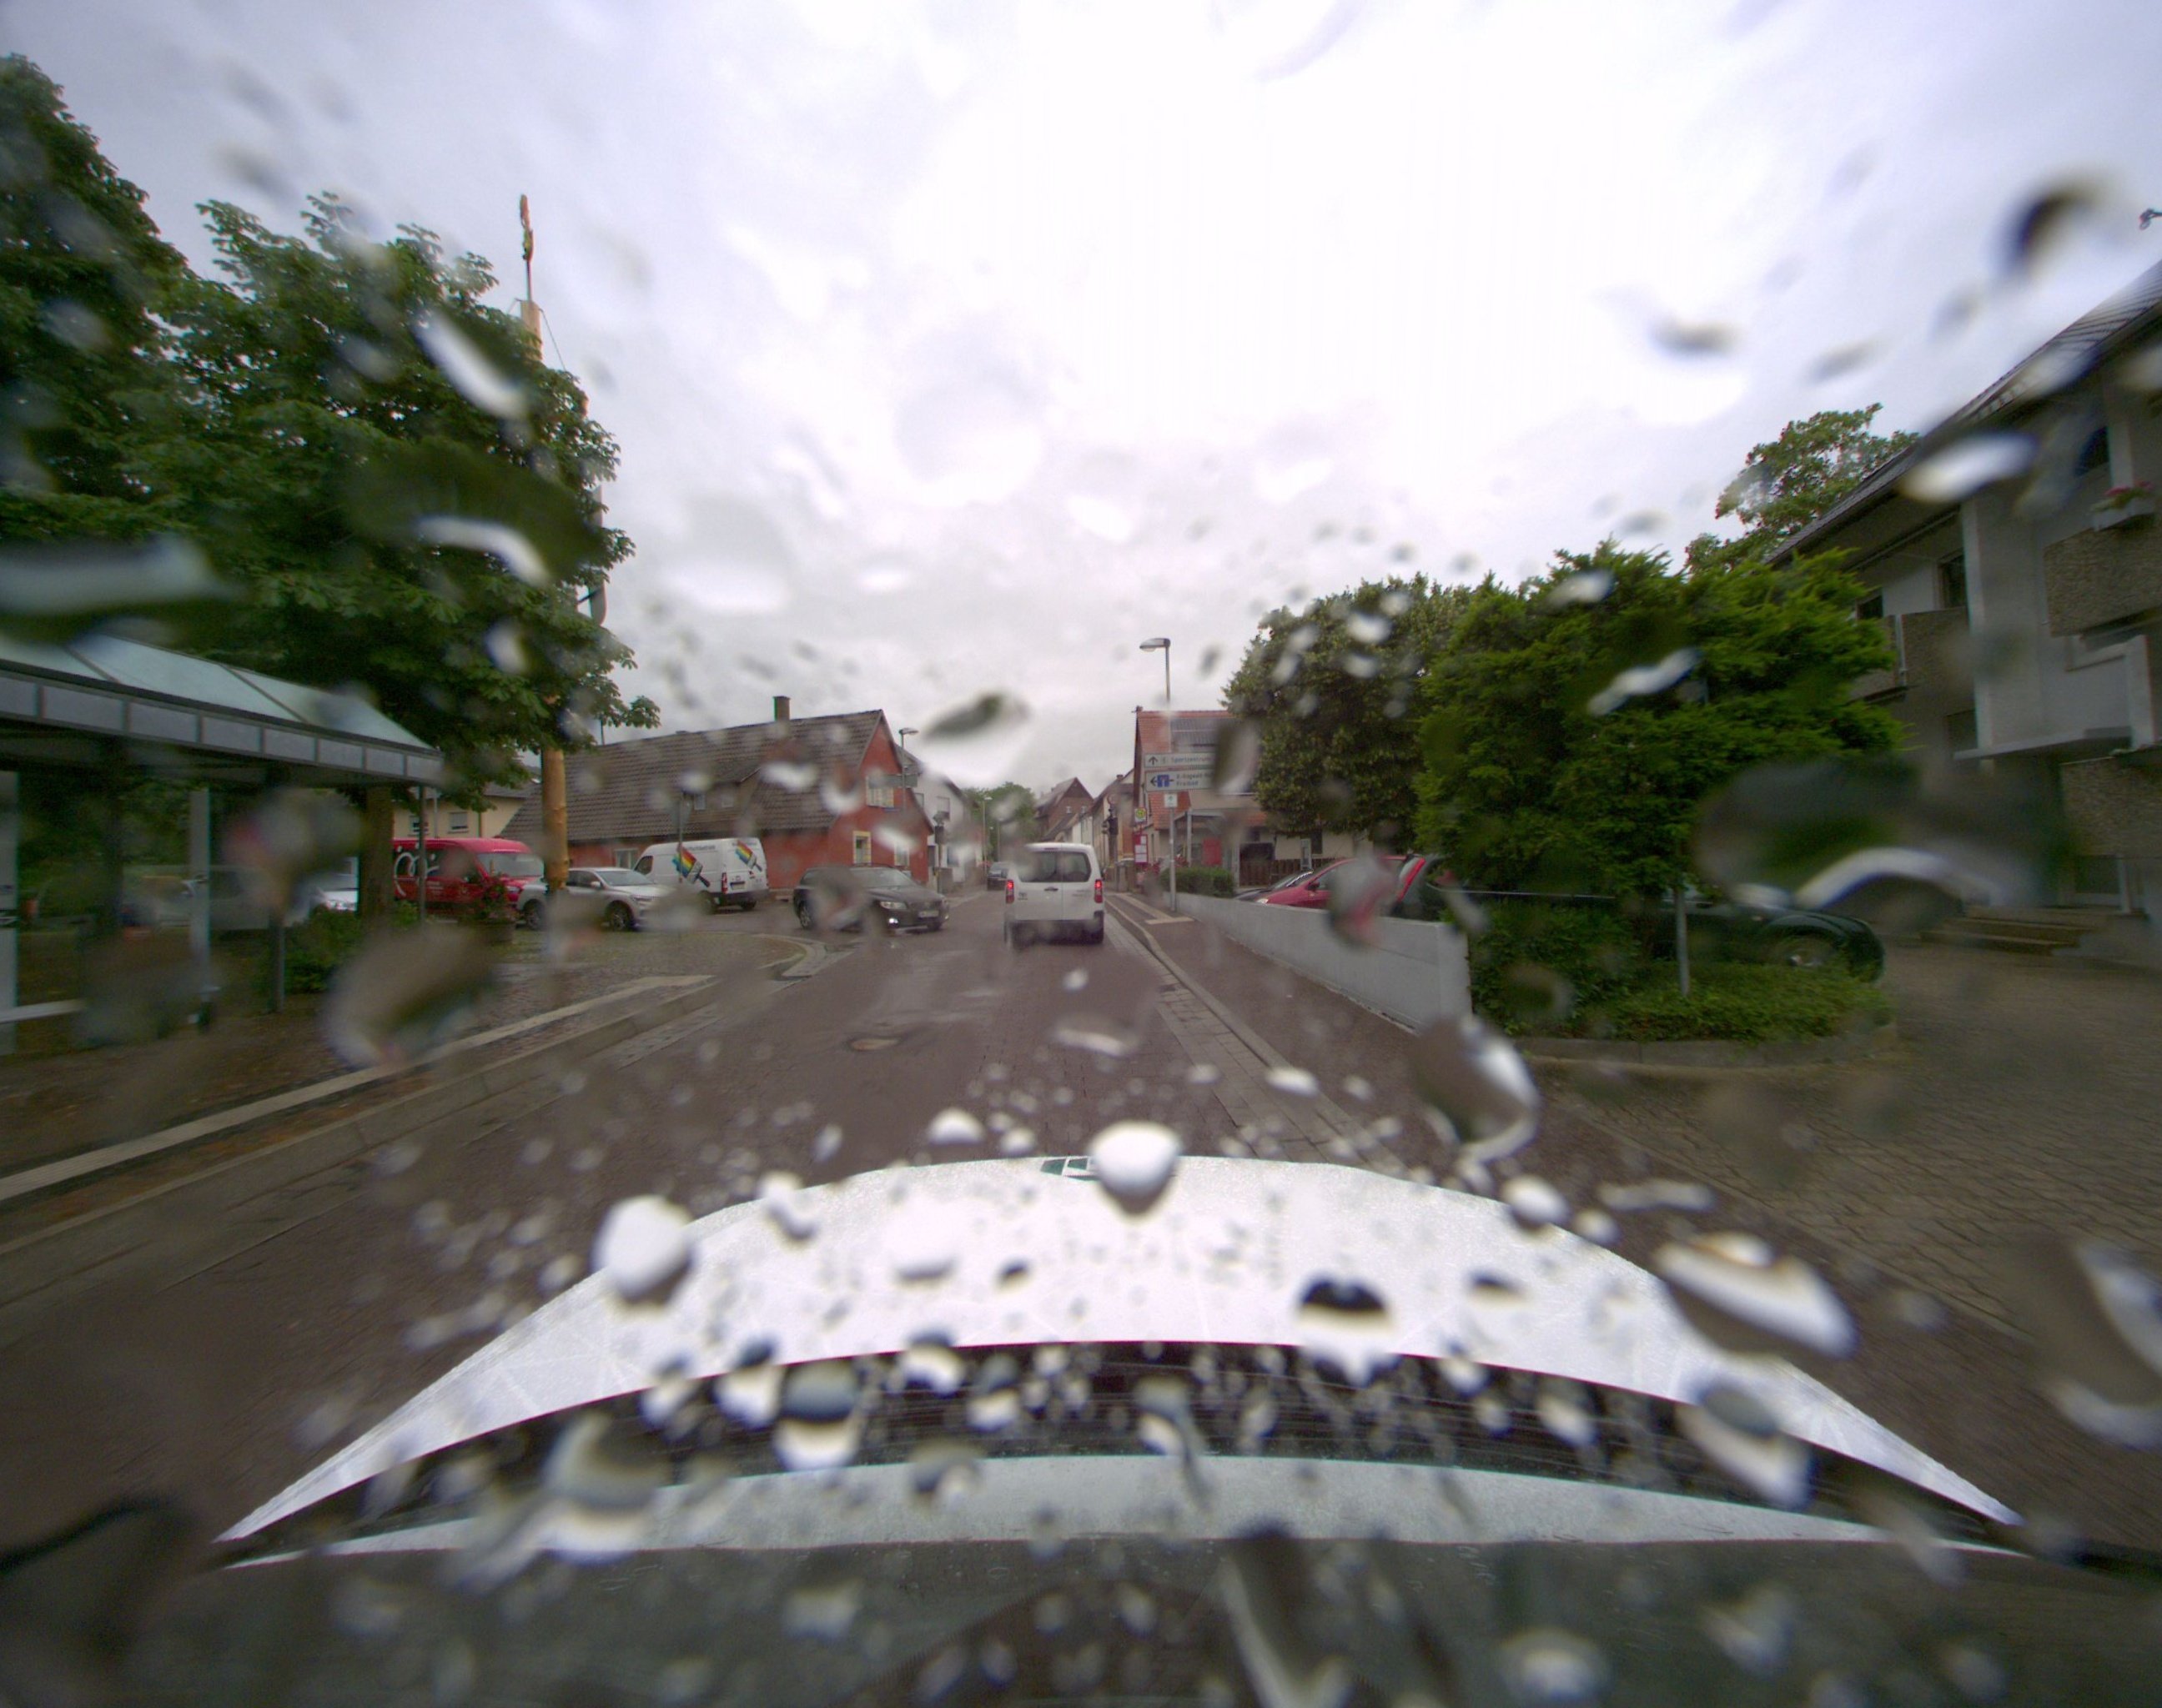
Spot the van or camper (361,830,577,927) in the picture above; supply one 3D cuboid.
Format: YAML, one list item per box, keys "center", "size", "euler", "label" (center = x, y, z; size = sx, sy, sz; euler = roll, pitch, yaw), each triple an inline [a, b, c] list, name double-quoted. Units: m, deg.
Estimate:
- center: [-17.138, 0.648, 22.781]
  size: [5.807, 2.473, 2.167]
  euler: [-1, -1, 23]
  label: "van or camper"

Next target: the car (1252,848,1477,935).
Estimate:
- center: [5.554, 0.735, 16.463]
  size: [4.041, 1.589, 1.863]
  euler: [-2, -1, 12]
  label: "car"

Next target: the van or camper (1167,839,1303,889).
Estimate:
- center: [6.078, 0.387, 32.438]
  size: [5.061, 1.923, 1.872]
  euler: [0, -1, -6]
  label: "van or camper"

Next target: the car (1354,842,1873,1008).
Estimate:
- center: [5.175, 0.695, 8.546]
  size: [4.199, 1.480, 1.701]
  euler: [-2, -1, 13]
  label: "car"

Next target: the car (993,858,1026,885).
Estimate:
- center: [-4.759, 1.185, 54.914]
  size: [1.743, 1.636, 4.416]
  euler: [-4, -1, -1]
  label: "car"

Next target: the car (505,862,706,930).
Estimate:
- center: [-11.928, 1.002, 20.465]
  size: [4.410, 1.550, 1.891]
  euler: [0, -1, 18]
  label: "car"

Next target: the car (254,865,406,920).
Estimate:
- center: [-22.825, 1.172, 24.780]
  size: [3.768, 1.550, 1.809]
  euler: [-2, -2, 19]
  label: "car"

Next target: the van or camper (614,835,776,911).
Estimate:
- center: [-13.511, 0.679, 28.496]
  size: [5.096, 2.435, 2.224]
  euler: [-2, 0, 23]
  label: "van or camper"

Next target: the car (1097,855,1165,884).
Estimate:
- center: [3.067, 0.931, 50.964]
  size: [1.885, 1.590, 4.570]
  euler: [0, 1, -34]
  label: "car"

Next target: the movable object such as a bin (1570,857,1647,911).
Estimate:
- center: [13.640, 0.760, 21.092]
  size: [1.238, 1.357, 1.155]
  euler: [-1, 0, -1]
  label: "movable object such as a bin"

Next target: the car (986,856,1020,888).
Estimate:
- center: [-4.634, 1.049, 48.666]
  size: [1.808, 1.779, 4.012]
  euler: [-2, 0, -4]
  label: "car"

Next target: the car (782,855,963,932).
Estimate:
- center: [-4.795, 0.862, 18.420]
  size: [4.259, 1.477, 1.861]
  euler: [-3, 0, 42]
  label: "car"

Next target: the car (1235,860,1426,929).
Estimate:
- center: [5.654, 0.912, 18.878]
  size: [3.932, 1.378, 1.754]
  euler: [-2, 0, 5]
  label: "car"

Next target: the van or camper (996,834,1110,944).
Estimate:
- center: [-0.542, 0.604, 15.896]
  size: [1.938, 1.851, 3.997]
  euler: [0, 0, -2]
  label: "van or camper"

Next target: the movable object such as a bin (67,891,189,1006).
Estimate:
- center: [-10.088, 0.980, 8.647]
  size: [0.561, 1.146, 0.603]
  euler: [-2, -2, -5]
  label: "movable object such as a bin"
